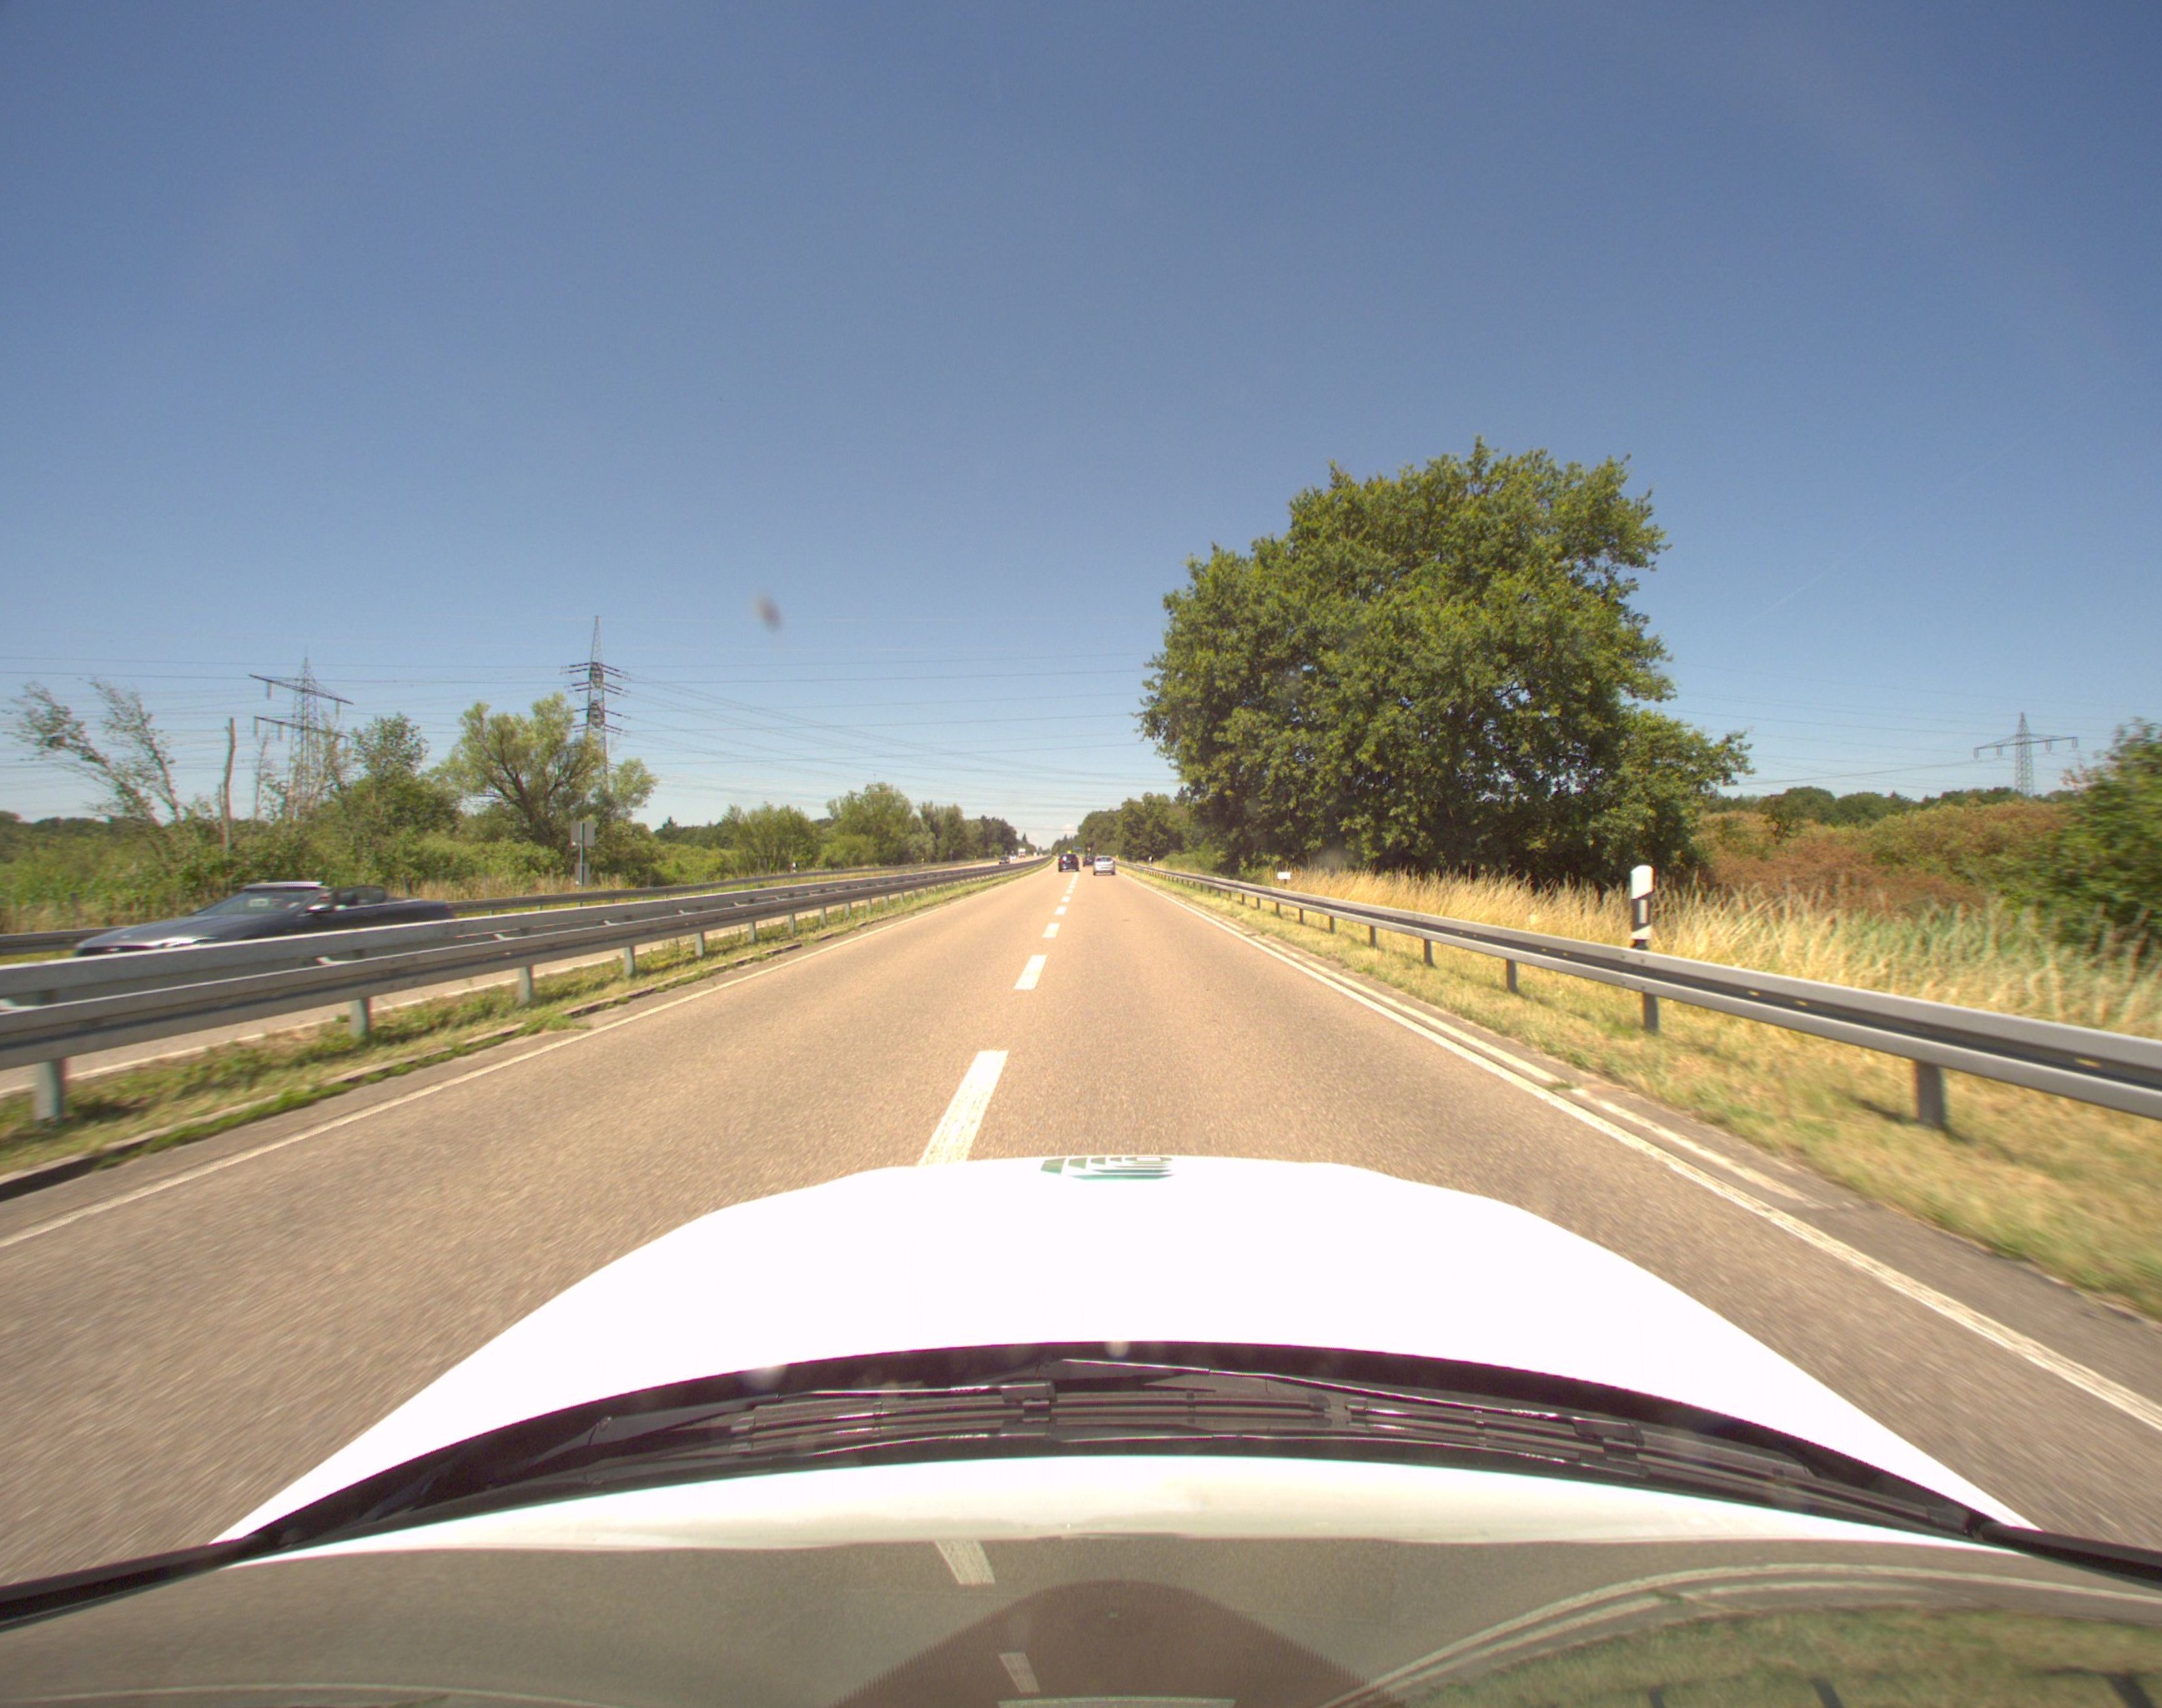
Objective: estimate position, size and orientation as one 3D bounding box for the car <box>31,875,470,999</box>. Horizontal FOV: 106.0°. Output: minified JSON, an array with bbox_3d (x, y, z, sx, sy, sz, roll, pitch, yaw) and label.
[{"bbox_3d":[-12.257,1.103,12.630,1.917,1.385,4.659,-2,0,1],"label":"car"}]

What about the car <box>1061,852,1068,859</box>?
[{"bbox_3d":[-3.904,0.381,194.164,1.708,1.471,3.571,1,0,-2],"label":"car"}]

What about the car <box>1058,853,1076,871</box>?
[{"bbox_3d":[-1.271,0.779,77.643,1.635,1.654,3.573,1,0,0],"label":"car"}]

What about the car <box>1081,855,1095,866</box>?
[{"bbox_3d":[0.865,0.873,103.464,1.633,1.342,3.576,1,0,3],"label":"car"}]

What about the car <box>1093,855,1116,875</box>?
[{"bbox_3d":[1.762,0.816,62.395,1.635,1.468,3.418,1,0,0],"label":"car"}]

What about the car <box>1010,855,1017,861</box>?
[{"bbox_3d":[-18.095,1.092,219.444,1.528,1.449,3.700,-1,0,-1],"label":"car"}]

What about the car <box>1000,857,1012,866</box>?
[{"bbox_3d":[-13.397,1.345,145.366,1.840,1.413,4.677,-1,0,-2],"label":"car"}]
